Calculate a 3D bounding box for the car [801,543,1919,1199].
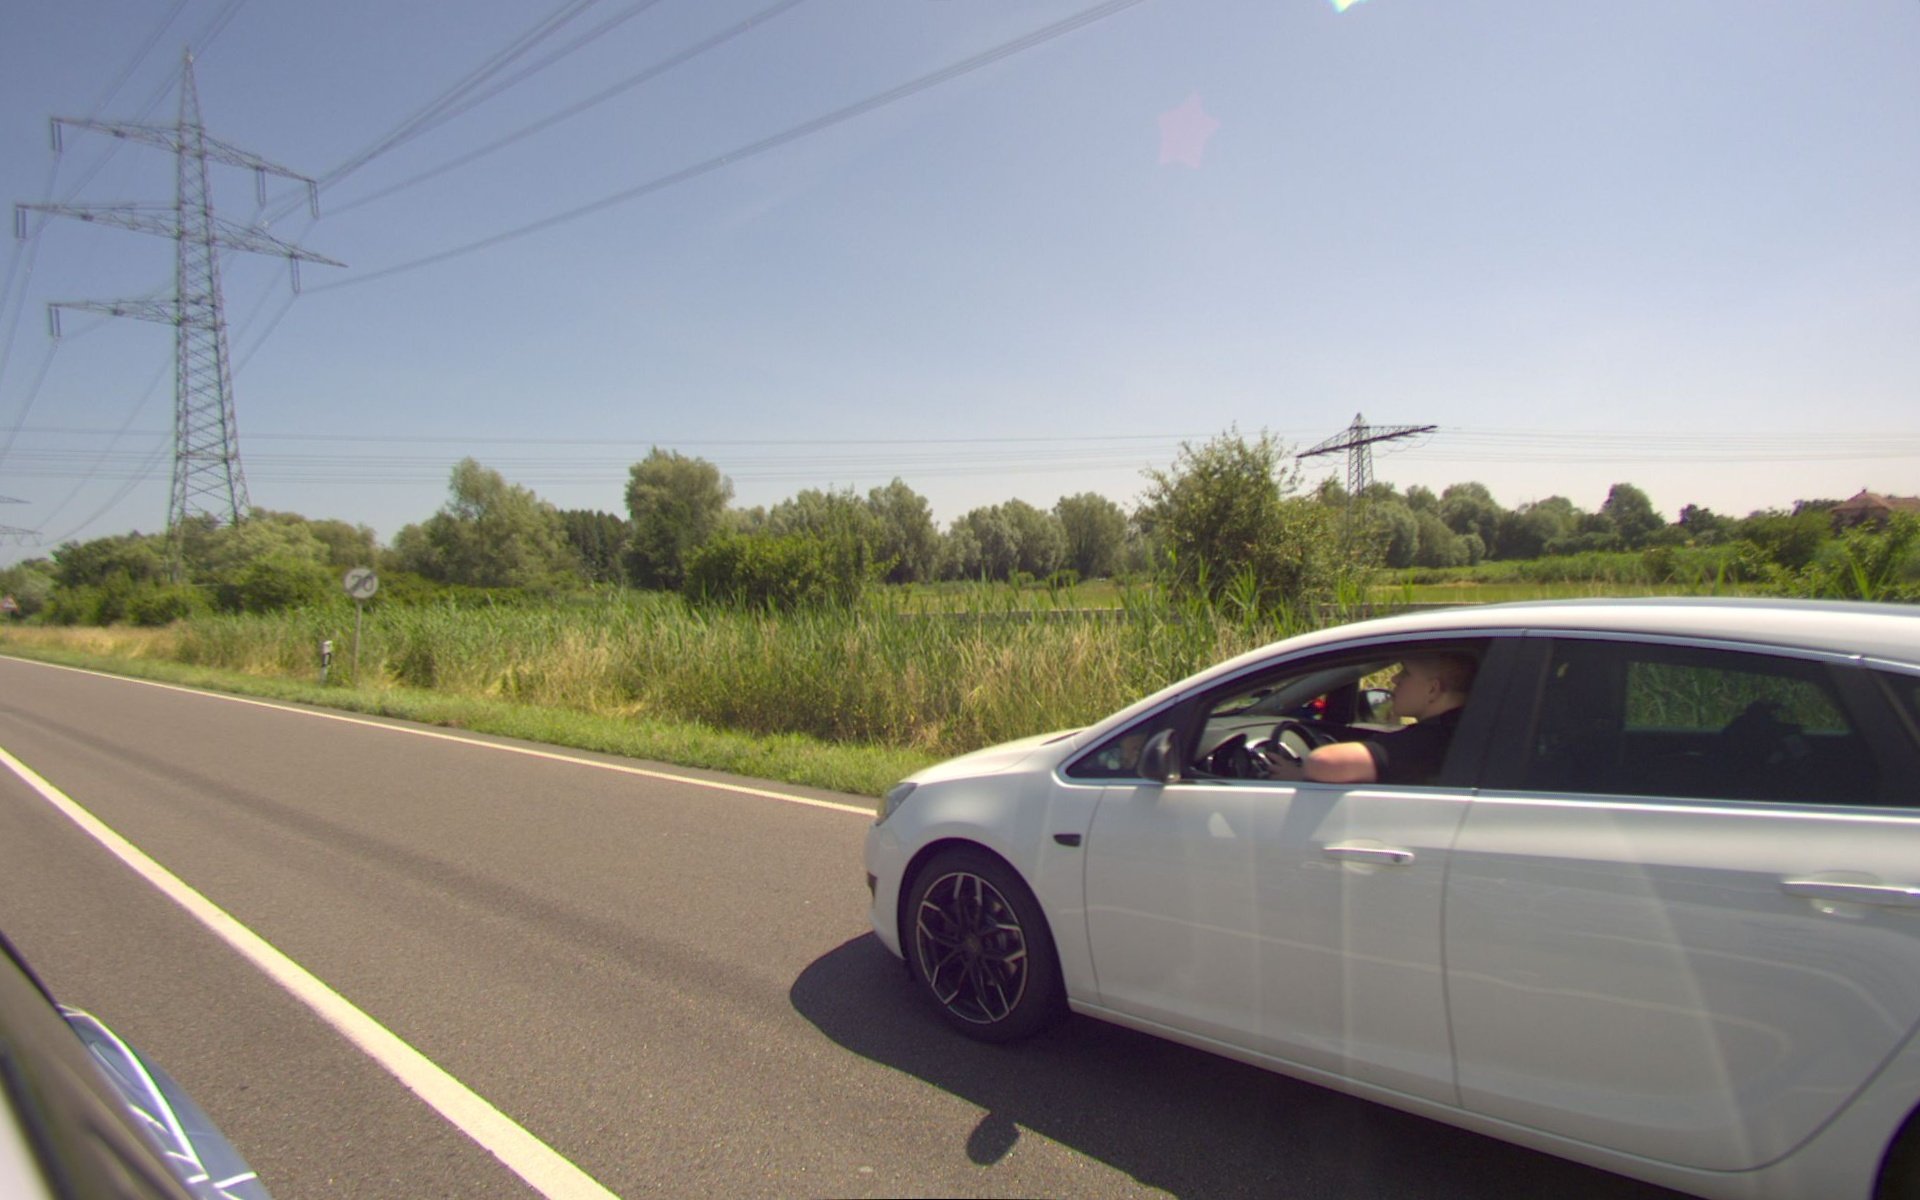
[{"bbox_3d":[1.510,0.656,3.181,4.248,1.452,1.706,-2,-2,42],"label":"car"}]
